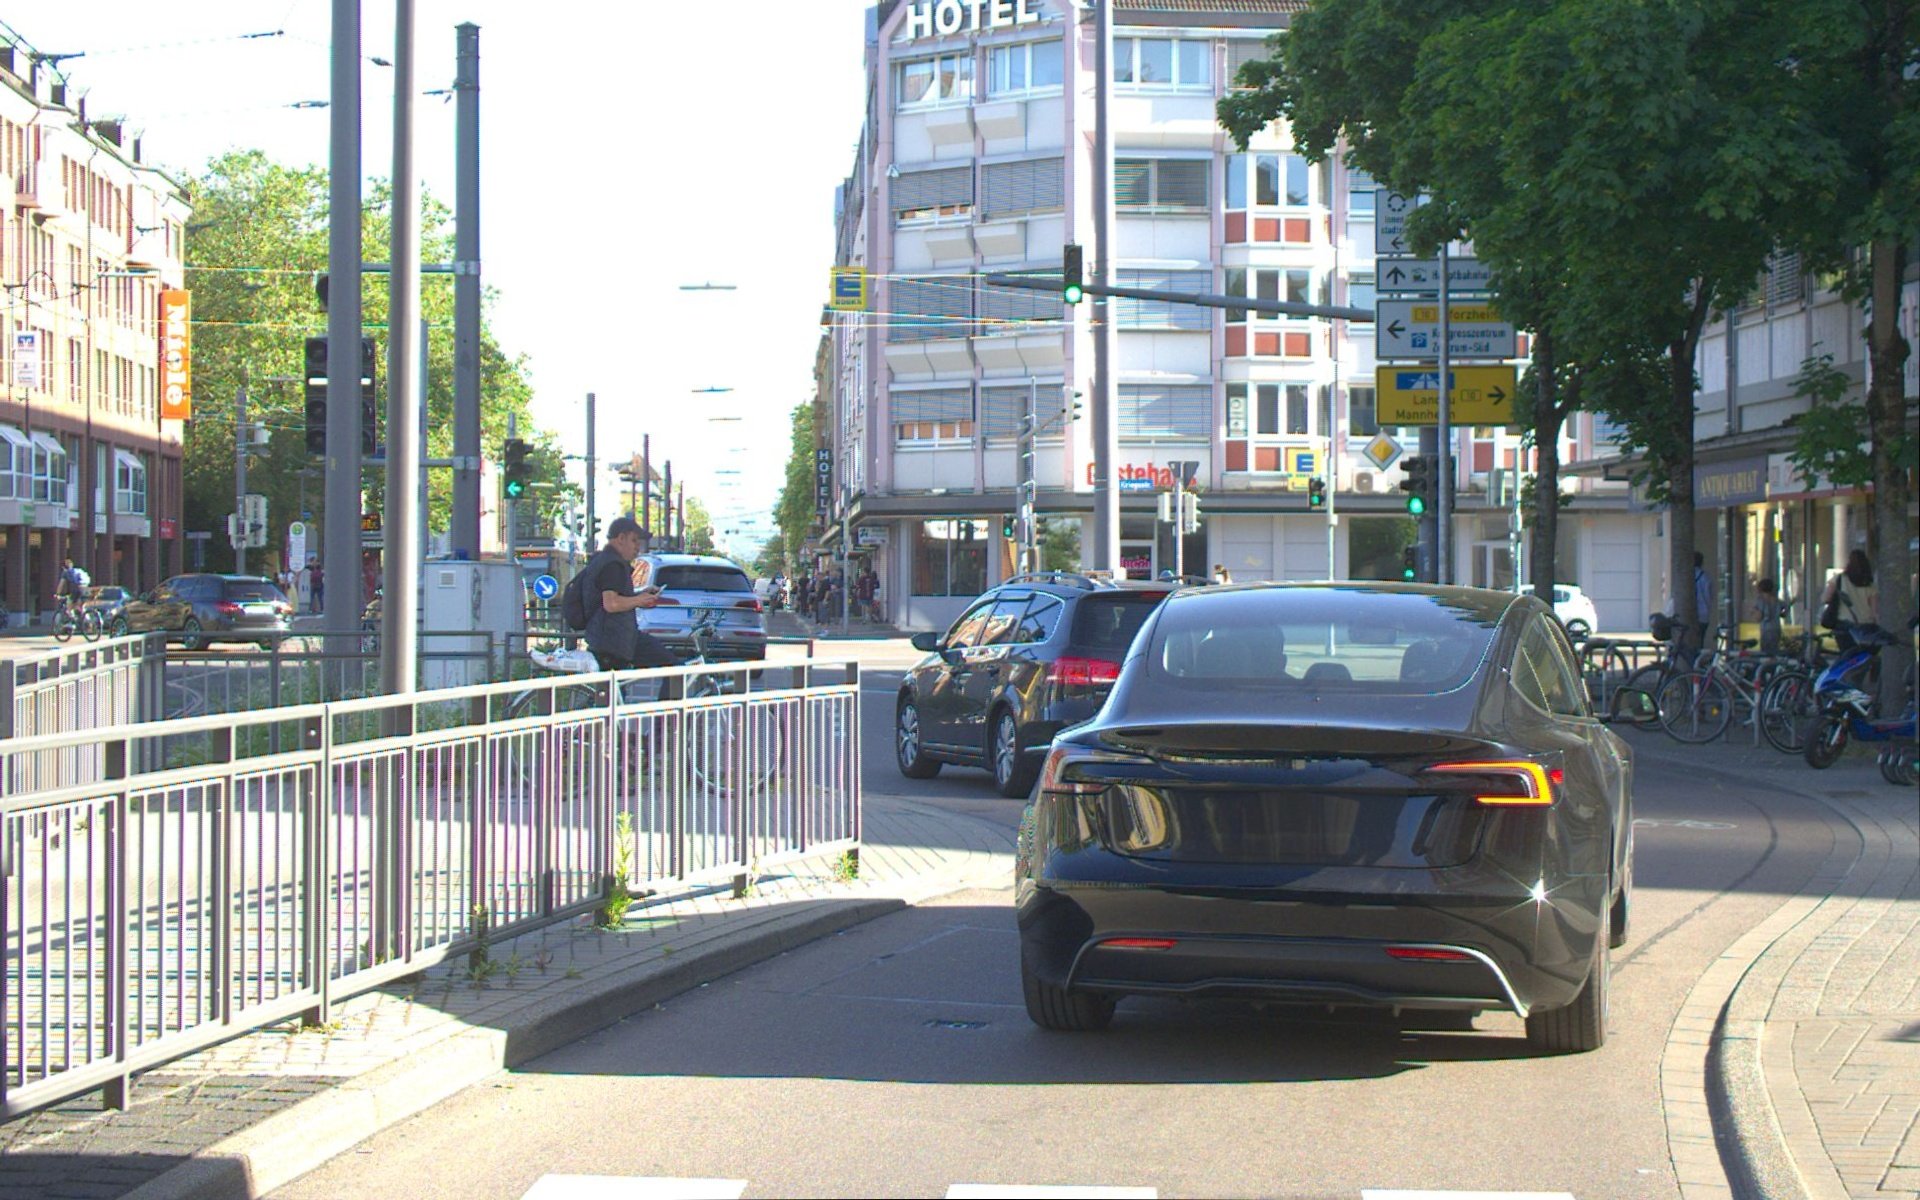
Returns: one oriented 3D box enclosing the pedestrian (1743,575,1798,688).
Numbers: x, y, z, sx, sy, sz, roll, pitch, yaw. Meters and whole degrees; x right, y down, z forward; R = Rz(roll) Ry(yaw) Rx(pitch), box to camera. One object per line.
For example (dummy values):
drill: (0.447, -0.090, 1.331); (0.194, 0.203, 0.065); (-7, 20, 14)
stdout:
pedestrian: (10.358, 0.400, 43.945); (0.645, 1.417, 0.621); (1, 0, 11)

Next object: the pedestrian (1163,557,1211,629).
pedestrian: (5.043, -0.165, 76.427); (0.779, 1.571, 0.868); (1, 1, -16)

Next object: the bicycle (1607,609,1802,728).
bicycle: (7.270, 0.668, 33.600); (1.809, 1.148, 0.435); (0, 0, -5)

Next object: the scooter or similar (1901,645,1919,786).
scooter or similar: (7.453, 0.851, 25.376); (0.956, 1.035, 0.160); (0, 0, 2)

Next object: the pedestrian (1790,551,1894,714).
pedestrian: (9.343, 0.342, 36.438); (0.843, 1.701, 0.880); (1, 0, -1)

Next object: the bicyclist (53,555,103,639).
bicyclist: (-18.857, -0.065, 73.489); (0.829, 1.766, 0.613); (1, 0, 28)

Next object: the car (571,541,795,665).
car: (-3.842, 0.037, 47.254); (1.839, 1.629, 3.486); (1, 0, -27)

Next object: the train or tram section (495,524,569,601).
train or tram section: (-20.445, -1.747, 164.536); (2.729, 3.530, 10.087); (1, 0, -3)

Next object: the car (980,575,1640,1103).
car: (1.376, 0.666, 11.915); (1.791, 1.446, 3.937); (1, 1, 13)

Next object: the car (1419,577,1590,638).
car: (13.403, 0.197, 84.746); (3.840, 1.427, 1.804); (0, -2, -6)

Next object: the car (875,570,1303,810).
car: (0.754, 0.539, 23.391); (1.764, 1.439, 4.530); (1, 1, -13)

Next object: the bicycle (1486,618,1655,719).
bicycle: (7.230, 0.810, 40.738); (1.890, 1.152, 0.480); (-1, 0, 0)

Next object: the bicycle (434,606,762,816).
bicycle: (-2.150, 0.651, 20.462); (1.820, 1.208, 0.642); (1, 0, -25)

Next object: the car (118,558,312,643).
car: (-13.987, -0.002, 64.514); (3.470, 1.546, 1.727); (1, 0, 38)

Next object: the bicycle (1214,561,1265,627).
bicycle: (6.236, -0.144, 76.843); (0.582, 1.458, 1.686); (0, 0, -16)

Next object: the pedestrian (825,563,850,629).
pedestrian: (-3.307, -0.103, 93.024); (0.626, 1.776, 0.918); (1, 0, -3)

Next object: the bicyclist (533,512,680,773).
bicyclist: (-2.107, 0.249, 20.477); (0.681, 1.518, 0.635); (1, 0, -25)

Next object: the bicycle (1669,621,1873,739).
bicycle: (7.449, 0.729, 31.612); (1.767, 1.053, 0.458); (1, 0, 5)

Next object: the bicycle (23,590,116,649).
bicycle: (-19.059, 0.410, 73.586); (2.037, 1.219, 0.627); (1, 0, 29)

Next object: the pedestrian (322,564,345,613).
pedestrian: (-19.565, -0.363, 107.361); (0.583, 1.525, 0.637); (1, 0, -18)

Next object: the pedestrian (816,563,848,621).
pedestrian: (-3.874, -0.233, 104.078); (0.914, 1.748, 0.839); (1, 0, -2)

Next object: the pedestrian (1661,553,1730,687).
pedestrian: (9.511, 0.254, 44.478); (0.843, 1.715, 0.879); (1, 0, 12)

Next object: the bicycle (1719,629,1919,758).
bicycle: (7.466, 0.794, 29.497); (1.849, 1.052, 0.399); (-1, 0, -12)

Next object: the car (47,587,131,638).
car: (-25.817, 0.357, 101.987); (1.817, 1.449, 3.978); (-1, 0, -6)

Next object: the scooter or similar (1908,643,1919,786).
scooter or similar: (7.448, 0.839, 25.178); (0.964, 1.039, 0.160); (0, 0, 2)

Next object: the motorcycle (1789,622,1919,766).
motorcycle: (7.610, 0.755, 27.563); (1.787, 1.126, 0.504); (1, 0, -3)

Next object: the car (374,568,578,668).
car: (-8.122, 0.284, 57.522); (1.573, 1.612, 3.782); (1, 0, -41)
